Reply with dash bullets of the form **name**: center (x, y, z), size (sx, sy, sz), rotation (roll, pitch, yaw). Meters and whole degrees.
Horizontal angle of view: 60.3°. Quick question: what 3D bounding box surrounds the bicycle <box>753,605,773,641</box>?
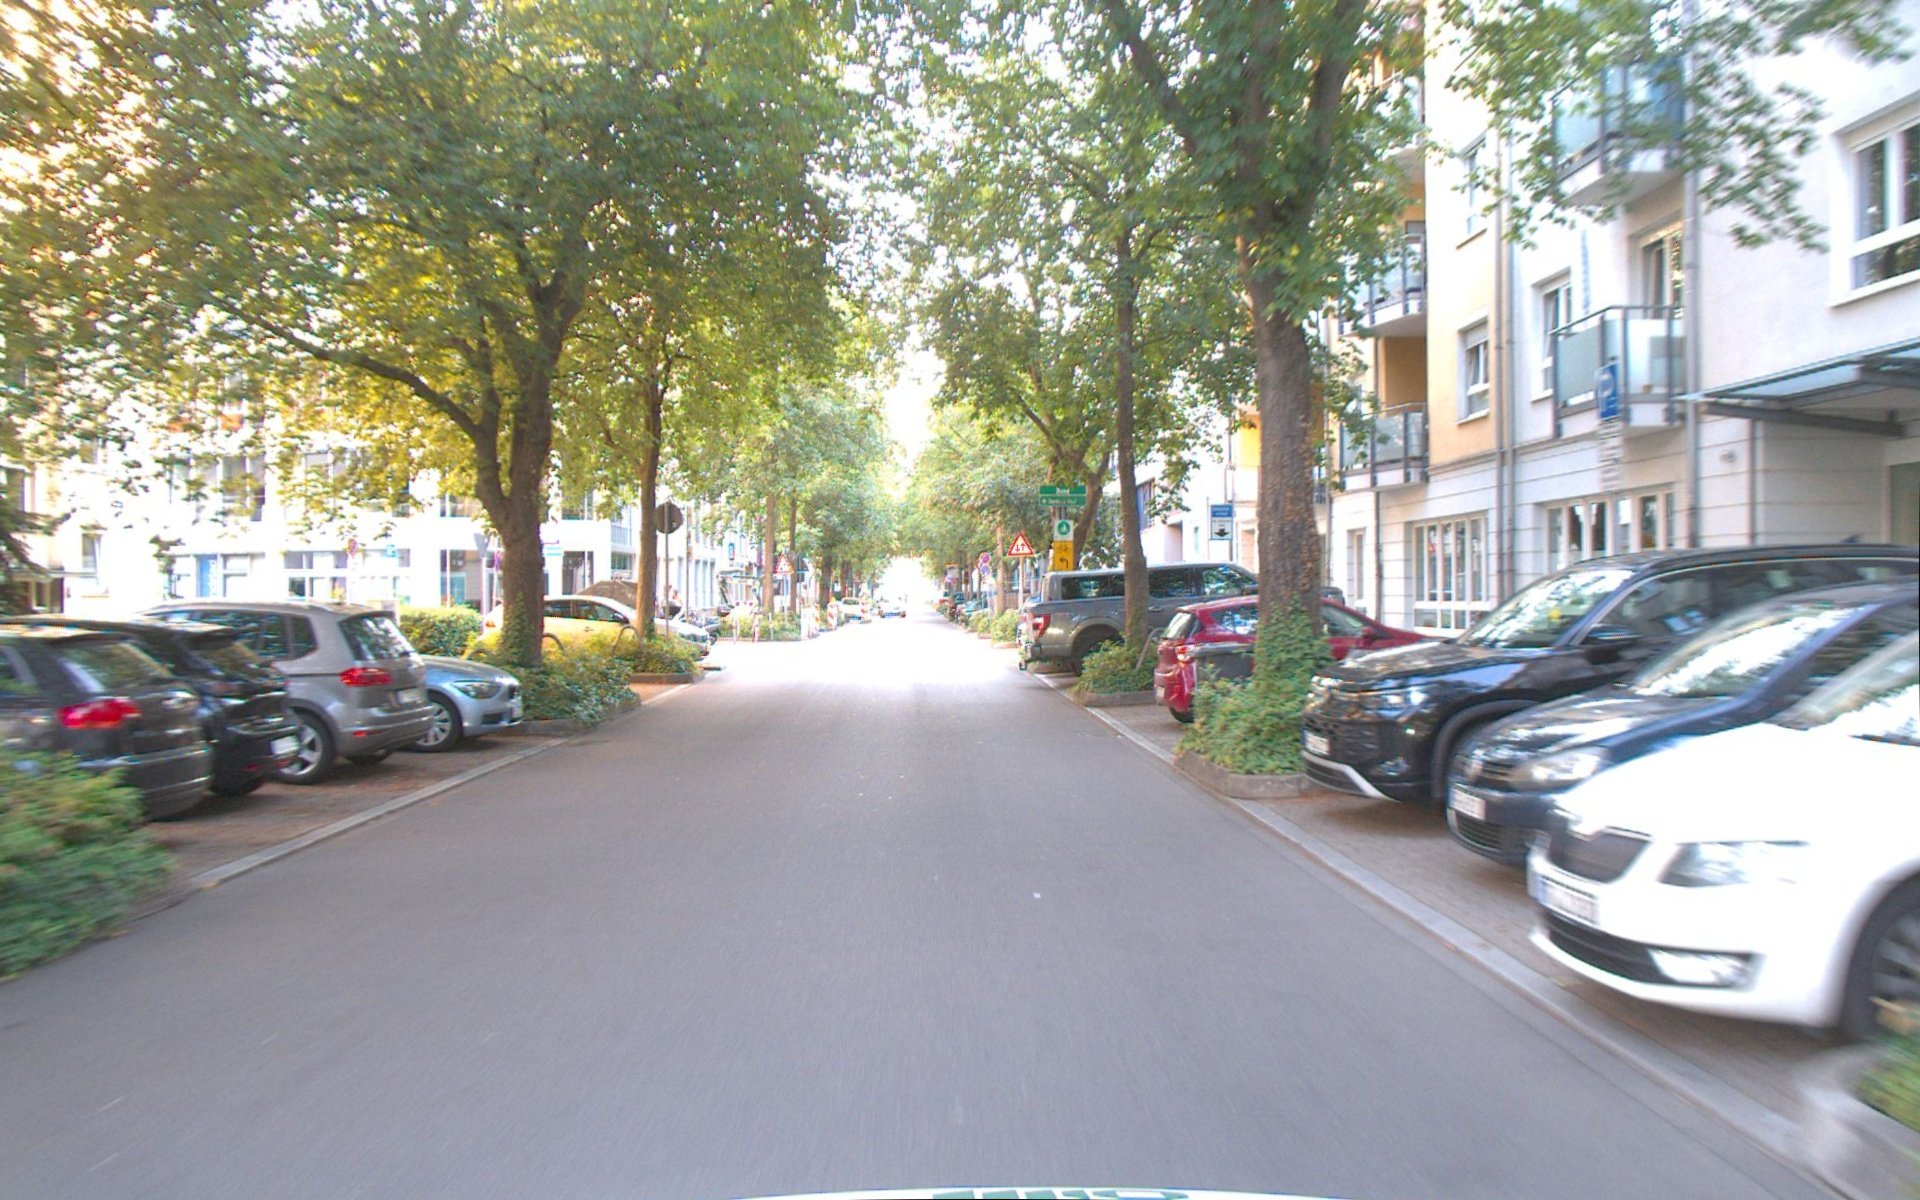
- **bicycle**: center (-6.793, 0.786, 57.151), size (0.670, 1.173, 1.978), rotation (-1, 0, -7)

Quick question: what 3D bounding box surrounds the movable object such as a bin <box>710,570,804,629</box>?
- **movable object such as a bin**: center (-8.779, -0.037, 71.620), size (3.969, 2.425, 2.780), rotation (-1, 0, -8)

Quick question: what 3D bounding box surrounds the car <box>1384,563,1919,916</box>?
- **car**: center (4.599, 0.600, 8.758), size (4.138, 1.463, 1.929), rotation (-4, 0, 0)

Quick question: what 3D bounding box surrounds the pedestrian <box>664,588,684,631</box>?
- **pedestrian**: center (-11.762, 0.391, 67.997), size (0.724, 1.720, 0.607), rotation (-1, 0, 0)

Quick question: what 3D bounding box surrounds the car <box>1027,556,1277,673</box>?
- **car**: center (3.657, 0.259, 32.109), size (4.508, 2.102, 2.196), rotation (-1, 0, -3)

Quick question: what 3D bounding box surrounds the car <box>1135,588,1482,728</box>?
- **car**: center (4.075, 0.658, 19.756), size (3.701, 1.571, 1.876), rotation (0, 0, -3)

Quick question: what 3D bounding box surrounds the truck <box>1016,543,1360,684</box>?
- **truck**: center (3.945, 0.226, 29.375), size (5.768, 2.351, 2.212), rotation (-1, 0, -1)

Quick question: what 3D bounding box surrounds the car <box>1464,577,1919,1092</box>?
- **car**: center (4.430, 0.632, 6.124), size (4.508, 1.493, 1.795), rotation (-4, 0, -3)

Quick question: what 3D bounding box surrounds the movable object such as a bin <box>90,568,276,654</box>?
- **movable object such as a bin**: center (-25.623, 0.358, 54.556), size (5.512, 2.739, 2.285), rotation (-1, 0, 19)

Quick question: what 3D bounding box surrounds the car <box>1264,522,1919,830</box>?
- **car**: center (4.626, 0.426, 11.353), size (4.553, 1.645, 2.008), rotation (-4, 0, -6)

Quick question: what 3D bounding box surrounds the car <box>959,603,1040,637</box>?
- **car**: center (1.893, 0.952, 80.726), size (3.905, 1.613, 2.000), rotation (-1, 0, 0)

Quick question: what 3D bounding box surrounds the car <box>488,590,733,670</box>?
- **car**: center (-7.069, 0.594, 33.810), size (4.524, 1.579, 2.075), rotation (0, 0, 0)

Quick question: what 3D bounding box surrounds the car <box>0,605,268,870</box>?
- **car**: center (-6.650, 0.795, 10.264), size (3.908, 1.489, 1.921), rotation (0, 0, -4)

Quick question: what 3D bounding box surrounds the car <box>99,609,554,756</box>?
- **car**: center (-6.734, 0.850, 17.938), size (4.201, 1.455, 1.878), rotation (0, 0, -2)

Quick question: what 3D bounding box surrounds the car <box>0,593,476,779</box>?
- **car**: center (-6.746, 0.748, 15.310), size (3.903, 1.593, 1.930), rotation (0, 0, 3)

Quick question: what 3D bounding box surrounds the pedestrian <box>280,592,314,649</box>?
- **pedestrian**: center (-22.222, 0.688, 55.420), size (0.879, 1.883, 0.866), rotation (-1, 0, -33)

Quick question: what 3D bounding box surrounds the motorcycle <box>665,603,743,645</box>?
- **motorcycle**: center (-8.270, 0.765, 53.484), size (2.337, 1.304, 1.051), rotation (-1, 1, -42)

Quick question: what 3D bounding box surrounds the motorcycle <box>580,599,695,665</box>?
- **motorcycle**: center (-7.275, 0.708, 37.397), size (2.402, 1.445, 0.911), rotation (-1, 0, 0)

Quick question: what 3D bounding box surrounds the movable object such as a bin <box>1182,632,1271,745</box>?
- **movable object such as a bin**: center (2.753, 0.905, 17.155), size (0.745, 1.103, 0.785), rotation (-2, 0, -1)

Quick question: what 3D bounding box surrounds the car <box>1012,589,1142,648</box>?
- **car**: center (3.246, 0.502, 46.433), size (3.467, 1.591, 1.831), rotation (-1, 0, -2)

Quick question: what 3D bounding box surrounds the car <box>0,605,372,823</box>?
- **car**: center (-6.765, 0.816, 12.643), size (3.908, 1.517, 1.824), rotation (0, 0, -4)

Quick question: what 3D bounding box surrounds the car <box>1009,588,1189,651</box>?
- **car**: center (3.628, 0.502, 43.785), size (4.529, 1.599, 2.010), rotation (0, 0, -2)

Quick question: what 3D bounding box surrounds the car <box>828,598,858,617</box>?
- **car**: center (-8.236, 0.531, 116.420), size (1.955, 1.310, 3.995), rotation (-1, 0, -6)

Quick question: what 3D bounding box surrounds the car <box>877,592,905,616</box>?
- **car**: center (-5.056, 0.271, 121.181), size (1.969, 1.641, 4.117), rotation (-1, 1, -3)
